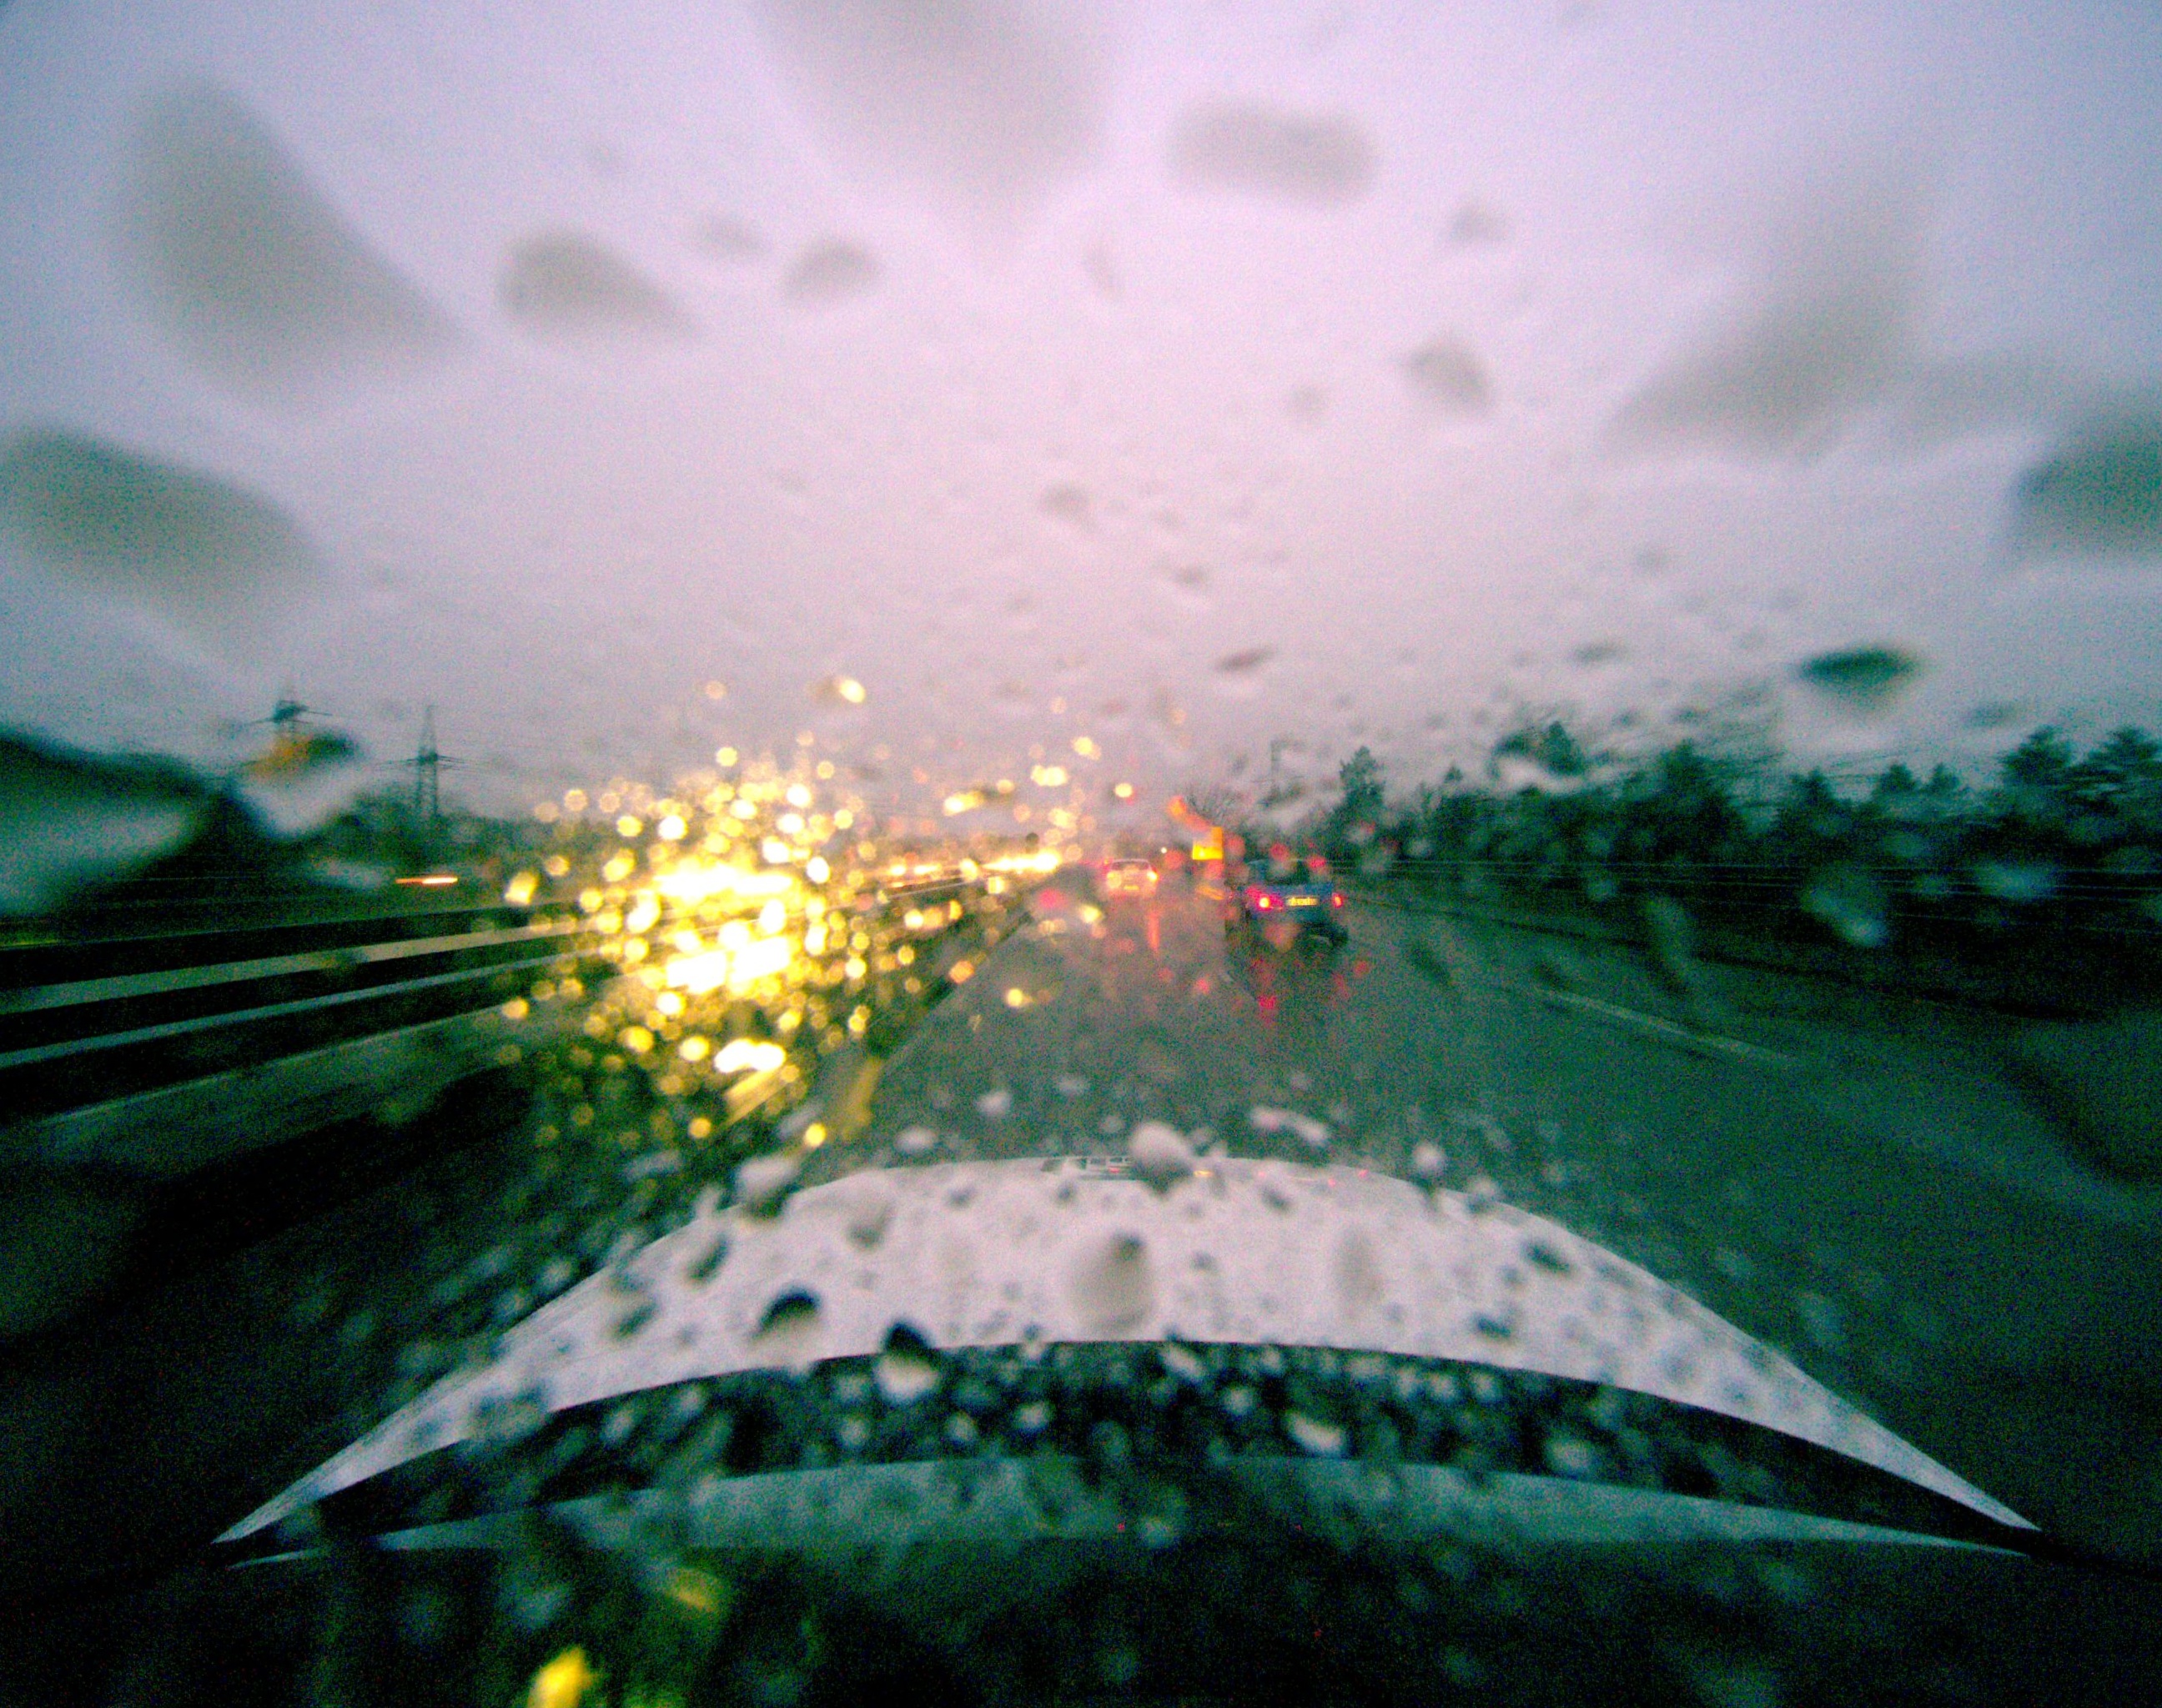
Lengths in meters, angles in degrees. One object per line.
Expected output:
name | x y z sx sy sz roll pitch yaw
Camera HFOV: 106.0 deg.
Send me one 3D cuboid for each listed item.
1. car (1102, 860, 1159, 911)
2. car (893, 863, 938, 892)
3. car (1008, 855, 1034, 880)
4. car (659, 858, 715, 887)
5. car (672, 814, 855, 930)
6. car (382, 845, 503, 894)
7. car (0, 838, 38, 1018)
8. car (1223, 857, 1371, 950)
car | 1.680 1.076 28.843 1.839 1.636 3.768 -1 -1 1
car | -10.557 1.470 52.367 1.829 1.636 4.546 -1 1 1
car | -5.612 1.248 76.761 1.986 2.136 5.201 -1 1 1
car | -28.059 1.268 58.089 1.987 2.013 4.000 0 0 0
car | -6.796 0.342 18.162 1.986 2.215 5.054 0 0 1
car | -27.466 0.643 35.208 1.986 2.014 4.001 0 -1 1
car | -10.660 0.658 5.174 1.986 1.596 4.658 0 0 1
car | 3.959 0.840 15.655 1.839 1.453 4.150 -1 1 1
